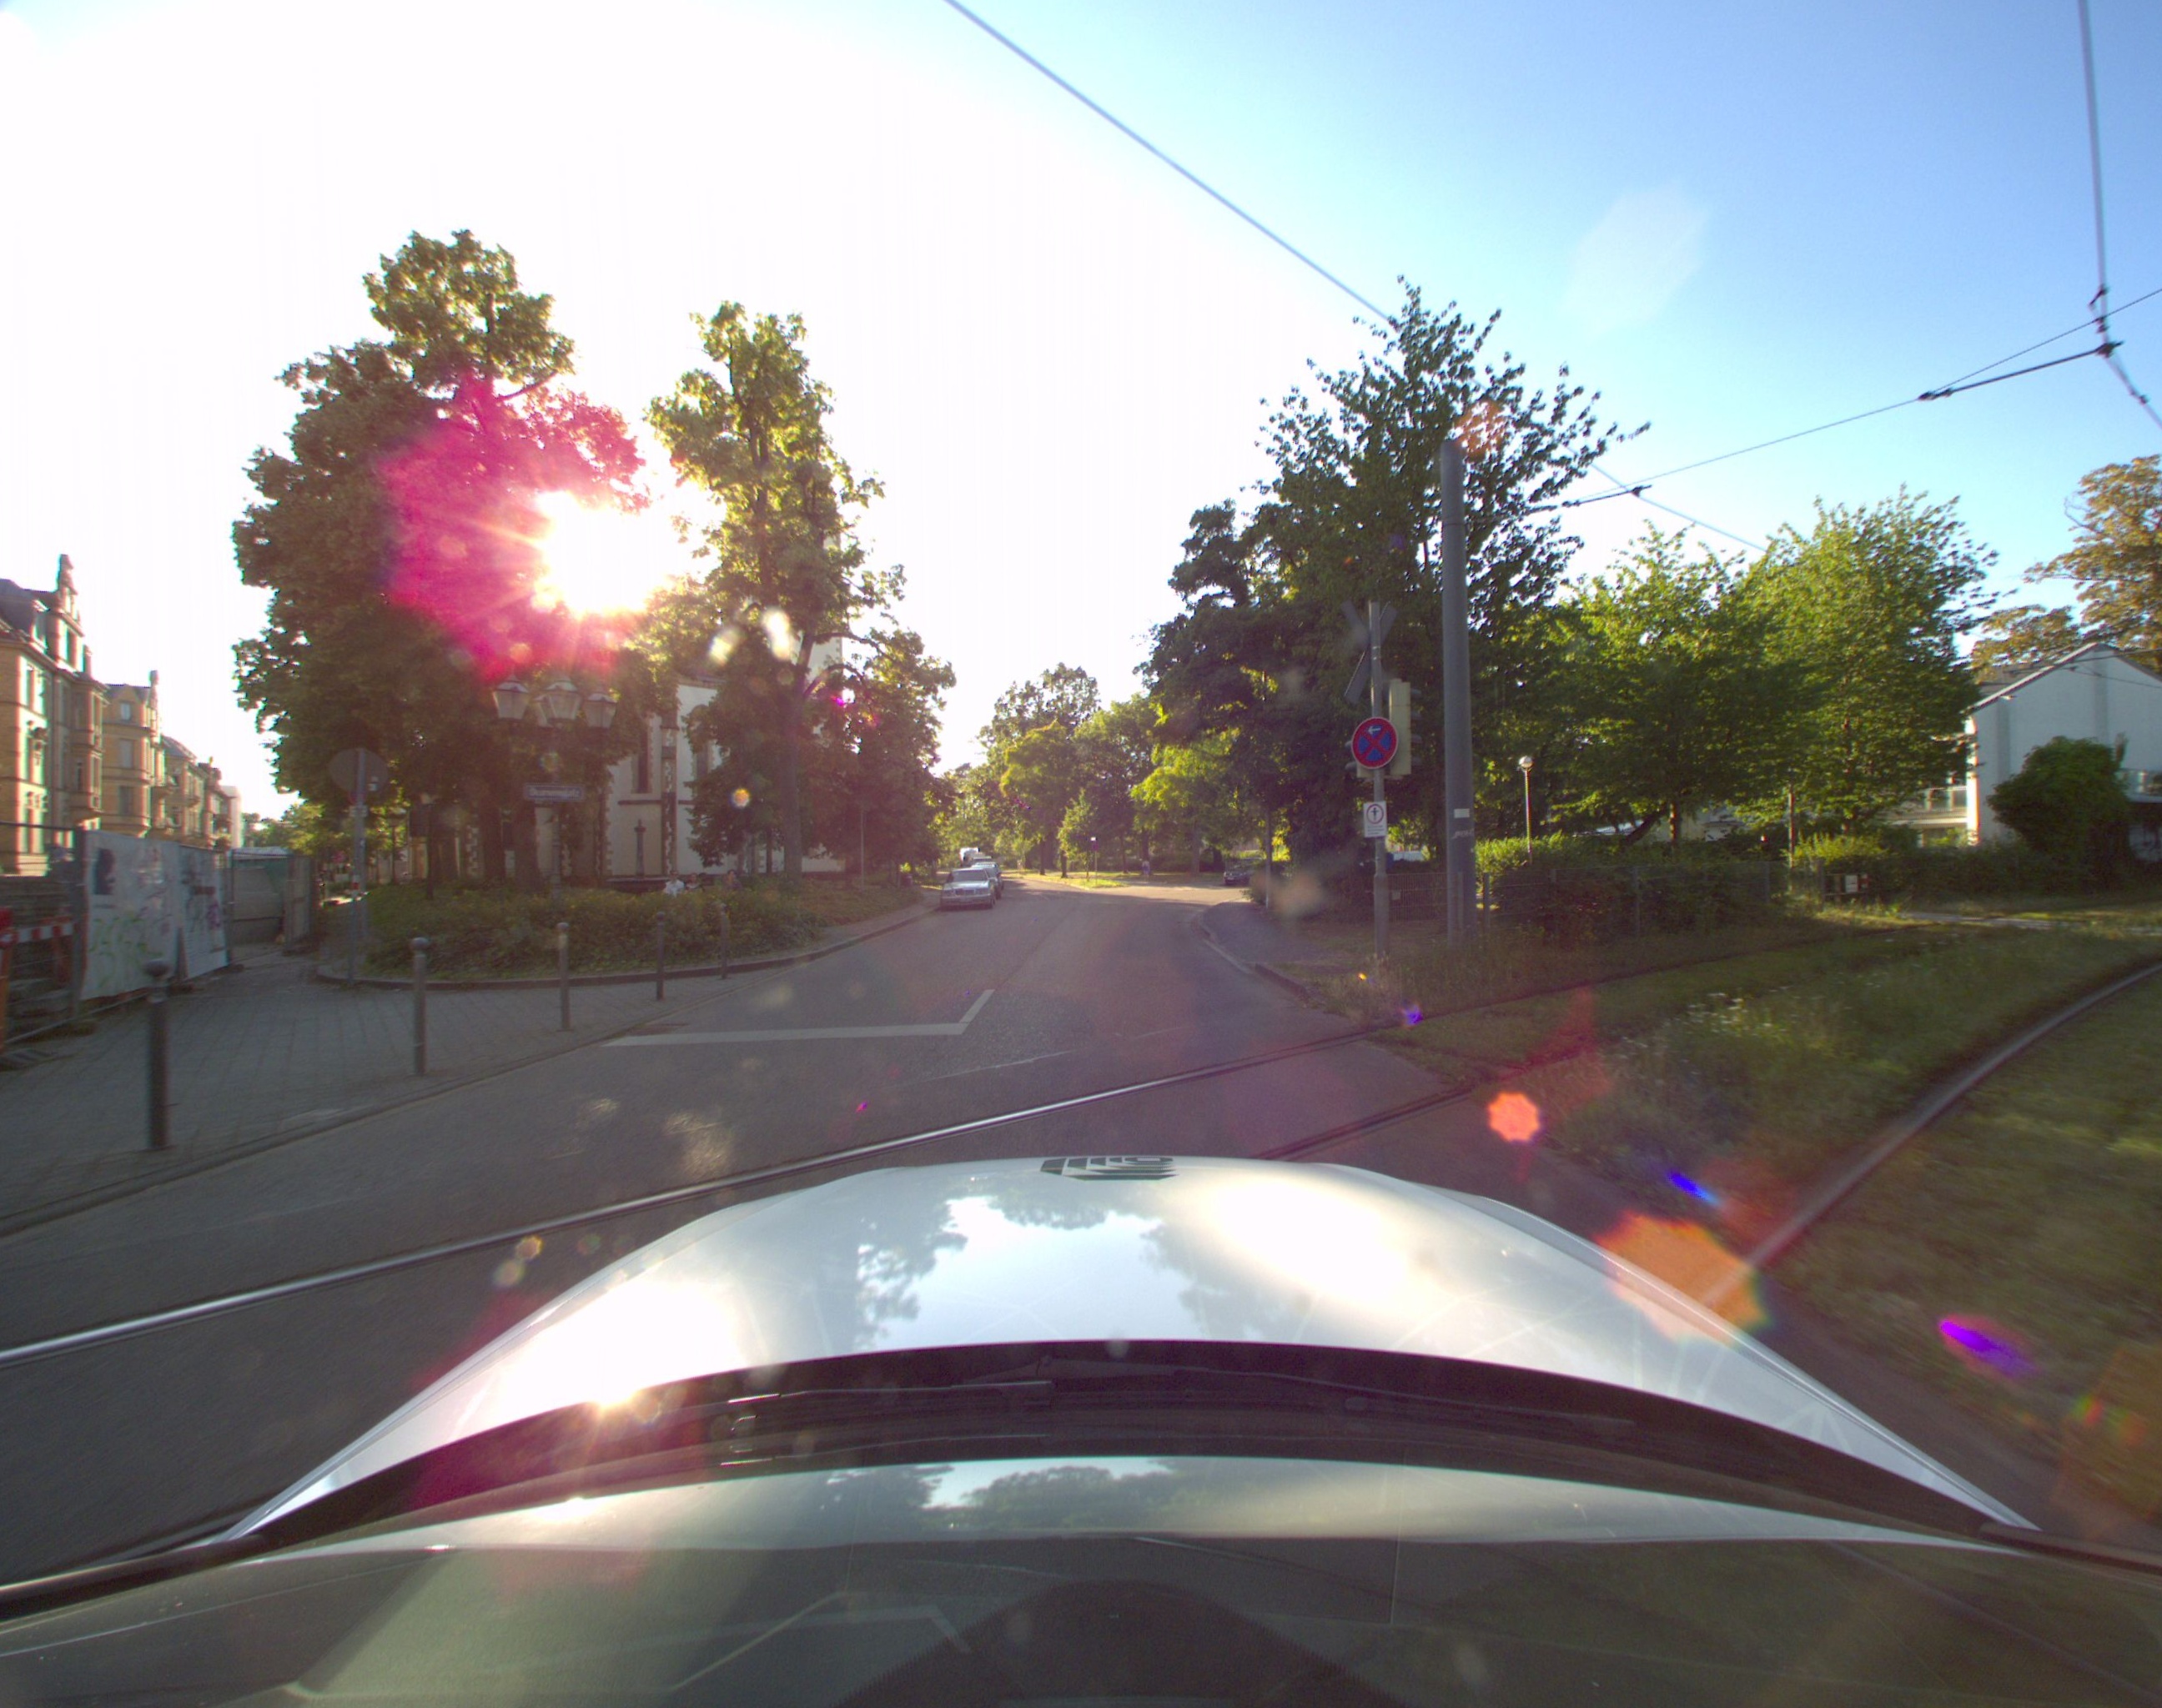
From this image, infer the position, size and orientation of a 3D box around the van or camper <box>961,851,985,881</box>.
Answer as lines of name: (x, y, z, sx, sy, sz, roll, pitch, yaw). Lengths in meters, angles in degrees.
van or camper: (-10.988, 1.187, 82.316, 2.090, 2.908, 6.309, 0, -1, -10)

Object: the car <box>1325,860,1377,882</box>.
car: (18.610, 1.171, 56.118, 3.996, 1.406, 1.675, 0, 1, -43)

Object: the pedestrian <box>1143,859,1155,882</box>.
pedestrian: (4.686, 1.128, 56.520, 0.770, 1.575, 0.768, -1, -1, 2)

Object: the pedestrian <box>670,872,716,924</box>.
pedestrian: (-9.172, 1.030, 19.283, 0.547, 1.195, 0.886, -1, -1, 10)

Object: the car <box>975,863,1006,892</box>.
car: (-5.183, 1.318, 46.383, 1.703, 1.579, 3.686, 0, -1, -8)

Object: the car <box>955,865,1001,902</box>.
car: (-4.501, 1.260, 36.058, 1.822, 1.415, 4.485, -3, -1, -6)

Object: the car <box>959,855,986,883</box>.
car: (-9.441, 1.312, 70.720, 1.853, 2.356, 5.162, 0, -1, -13)

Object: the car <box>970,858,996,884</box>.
car: (-7.609, 1.275, 62.959, 1.850, 1.946, 4.827, 0, -1, -8)

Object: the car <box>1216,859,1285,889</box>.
car: (10.036, 1.145, 48.085, 4.344, 1.675, 1.786, 0, 1, -43)

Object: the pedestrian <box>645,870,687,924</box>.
pedestrian: (-9.771, 0.999, 19.204, 0.548, 1.233, 0.727, -1, -1, 10)

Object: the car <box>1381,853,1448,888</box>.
car: (20.558, 0.992, 50.026, 5.183, 2.014, 1.935, 0, -1, -45)

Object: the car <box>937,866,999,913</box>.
car: (-3.939, 1.203, 29.105, 1.776, 1.415, 4.492, -3, -1, -3)

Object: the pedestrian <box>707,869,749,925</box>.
pedestrian: (-8.368, 1.010, 19.321, 0.548, 1.298, 0.768, -1, -1, 10)

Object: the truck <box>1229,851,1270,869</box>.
truck: (29.166, 1.062, 141.322, 2.619, 3.029, 7.936, 0, -1, -28)
